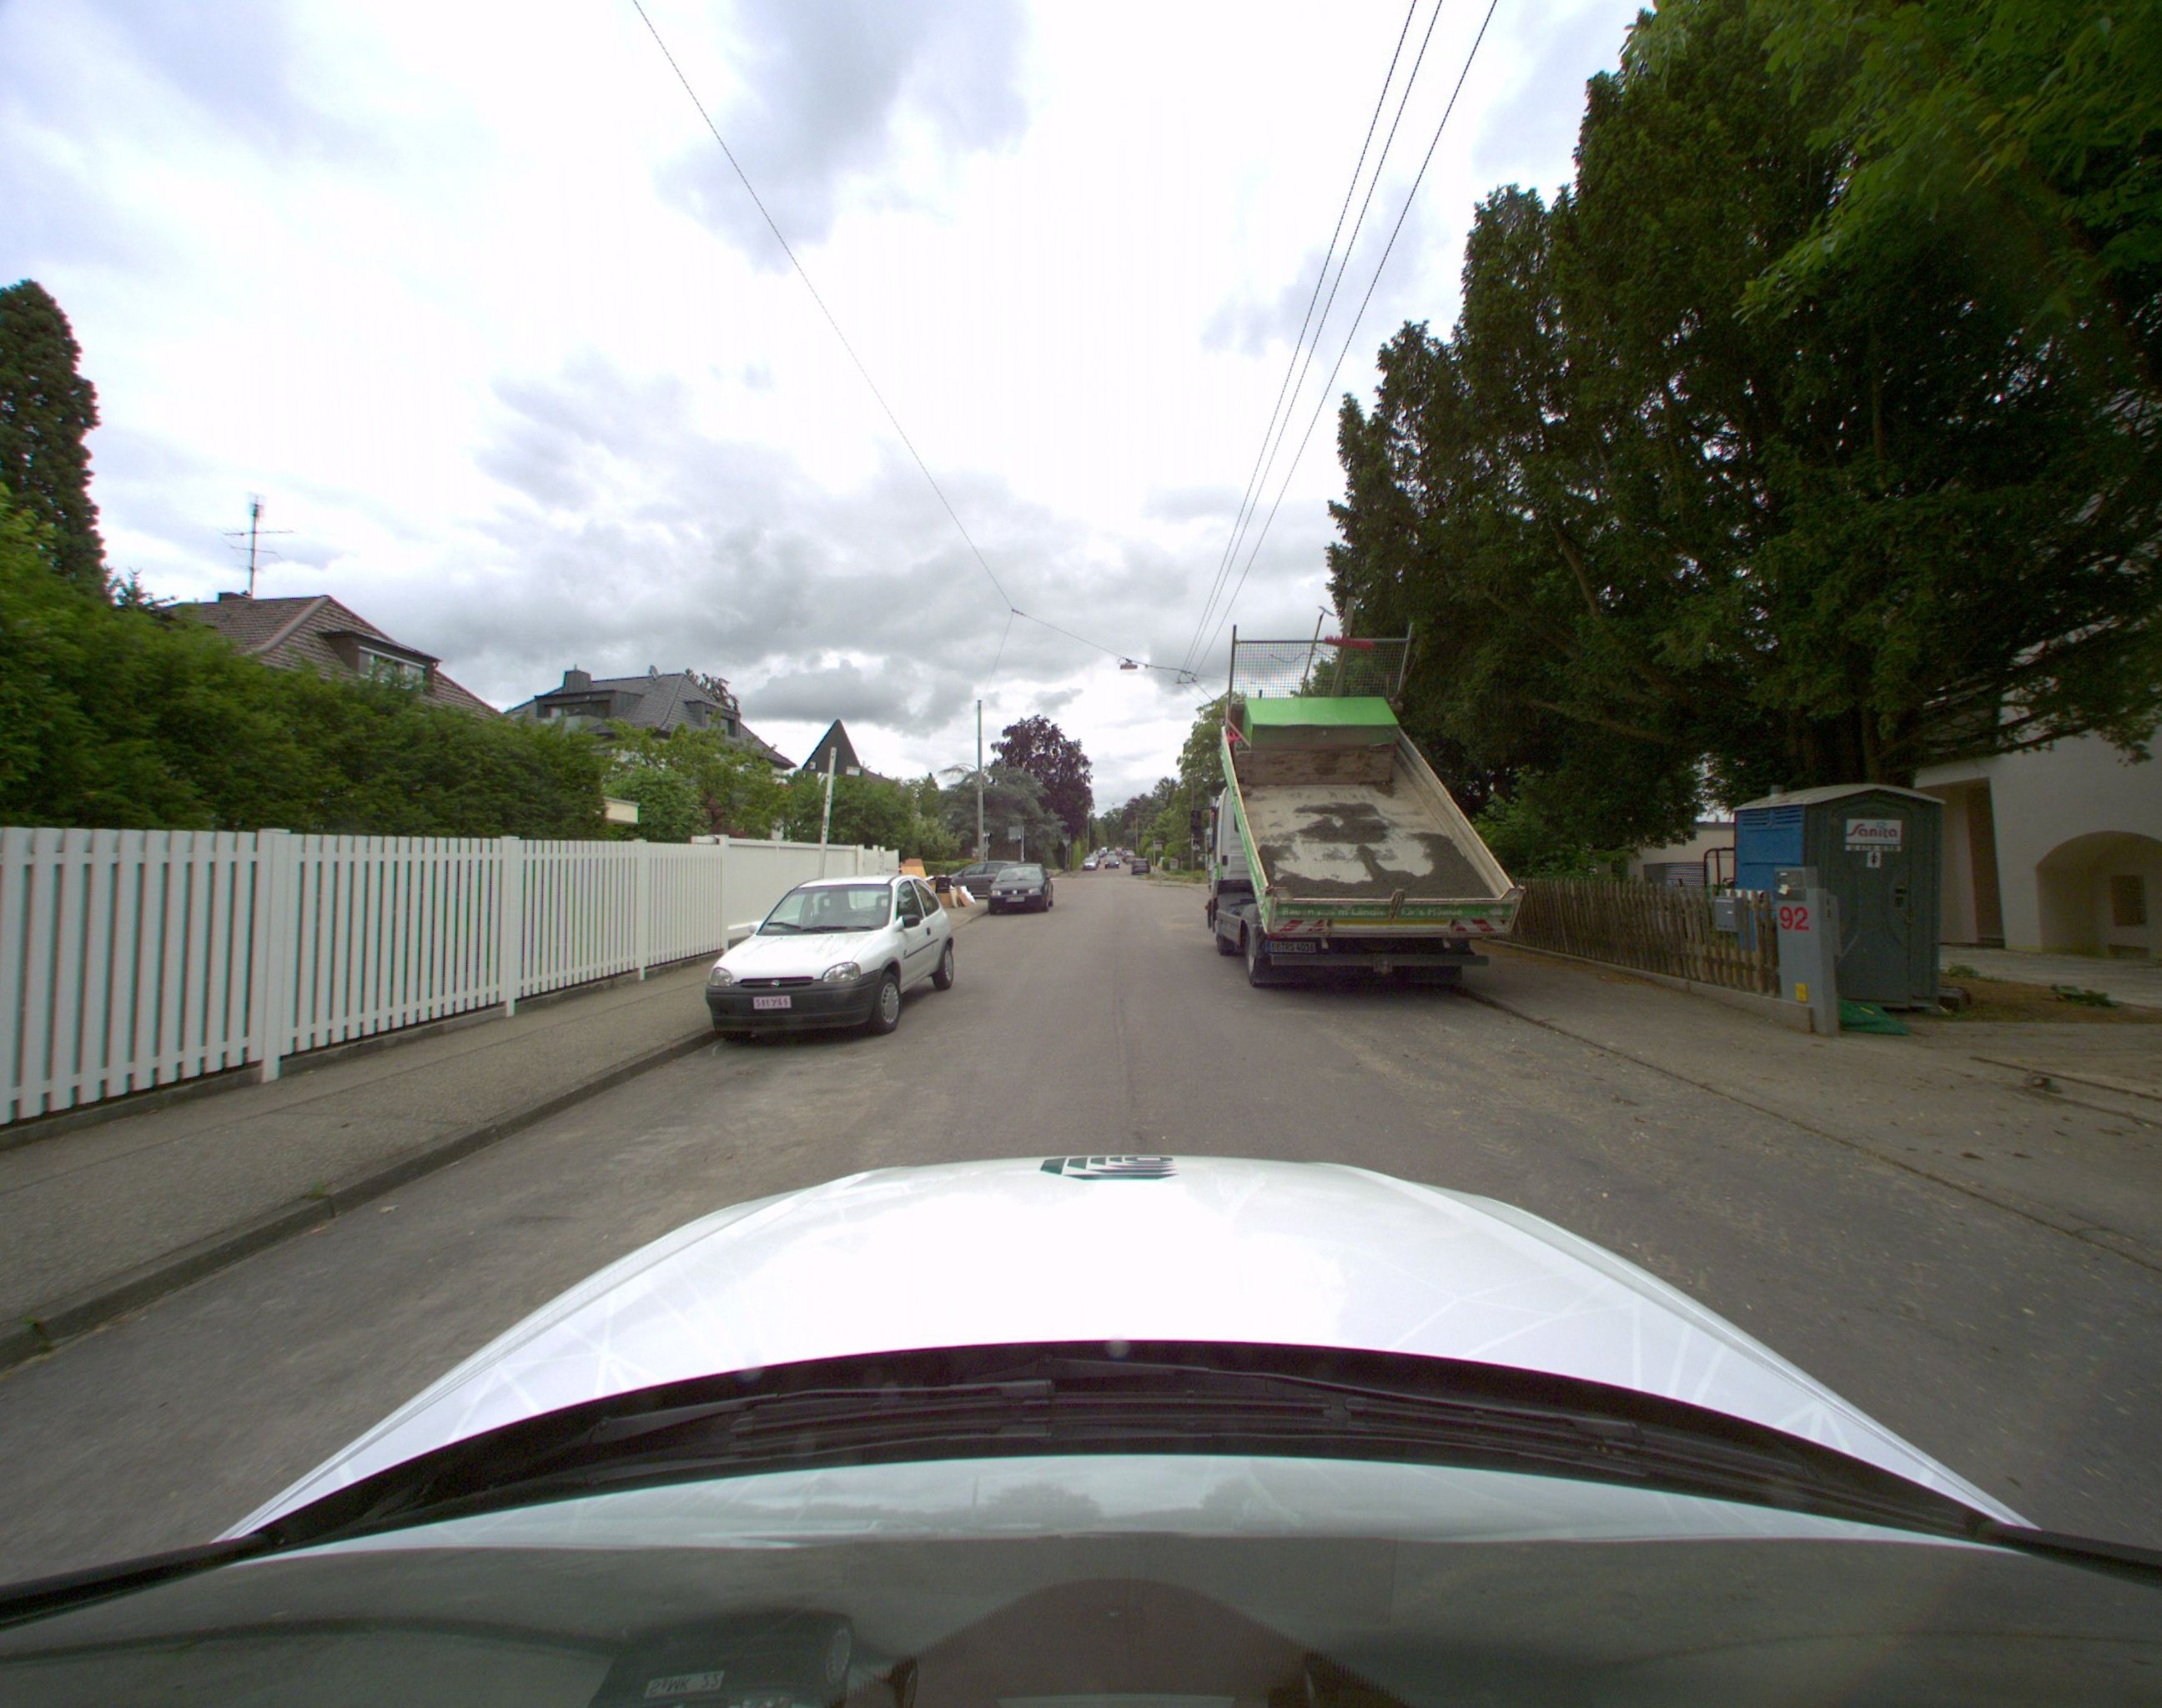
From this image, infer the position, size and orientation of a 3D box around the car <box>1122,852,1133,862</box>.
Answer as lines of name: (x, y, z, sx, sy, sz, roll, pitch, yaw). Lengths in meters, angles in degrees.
car: (7.630, 0.485, 133.428, 1.782, 1.529, 3.738, -1, 0, 4)

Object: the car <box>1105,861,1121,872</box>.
car: (4.078, 1.579, 104.363, 1.719, 1.407, 3.810, -1, 0, 6)

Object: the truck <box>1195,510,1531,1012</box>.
truck: (3.170, -0.871, 11.326, 2.514, 4.748, 7.192, 0, 0, 3)

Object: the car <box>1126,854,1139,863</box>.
car: (7.806, 0.658, 124.538, 1.803, 1.335, 3.633, 1, 1, 1)

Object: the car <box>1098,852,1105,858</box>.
car: (4.712, 0.322, 189.510, 1.620, 1.386, 3.599, 1, 0, 1)

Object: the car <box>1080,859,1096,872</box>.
car: (0.860, 1.443, 100.969, 1.703, 1.586, 4.005, -1, 0, 5)

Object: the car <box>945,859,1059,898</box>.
car: (-3.054, 0.939, 31.684, 3.955, 1.444, 1.835, -1, 0, 18)

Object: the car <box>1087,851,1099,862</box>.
car: (1.854, 0.359, 128.490, 1.704, 1.586, 4.004, -1, 1, 3)

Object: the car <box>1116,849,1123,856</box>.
car: (9.789, -0.481, 208.495, 1.628, 1.701, 3.495, 0, 0, 1)

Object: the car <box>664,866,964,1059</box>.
car: (-2.446, 0.904, 8.565, 1.589, 1.433, 4.003, -3, 0, 3)

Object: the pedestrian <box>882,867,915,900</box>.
pedestrian: (-6.861, 1.096, 30.620, 0.954, 1.225, 0.827, 0, -2, -40)

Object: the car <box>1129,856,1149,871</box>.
car: (5.725, 0.947, 80.979, 1.772, 1.489, 4.001, -1, 0, 1)

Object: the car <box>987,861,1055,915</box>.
car: (-1.747, 0.954, 24.673, 1.631, 1.395, 3.989, -3, 0, 1)
